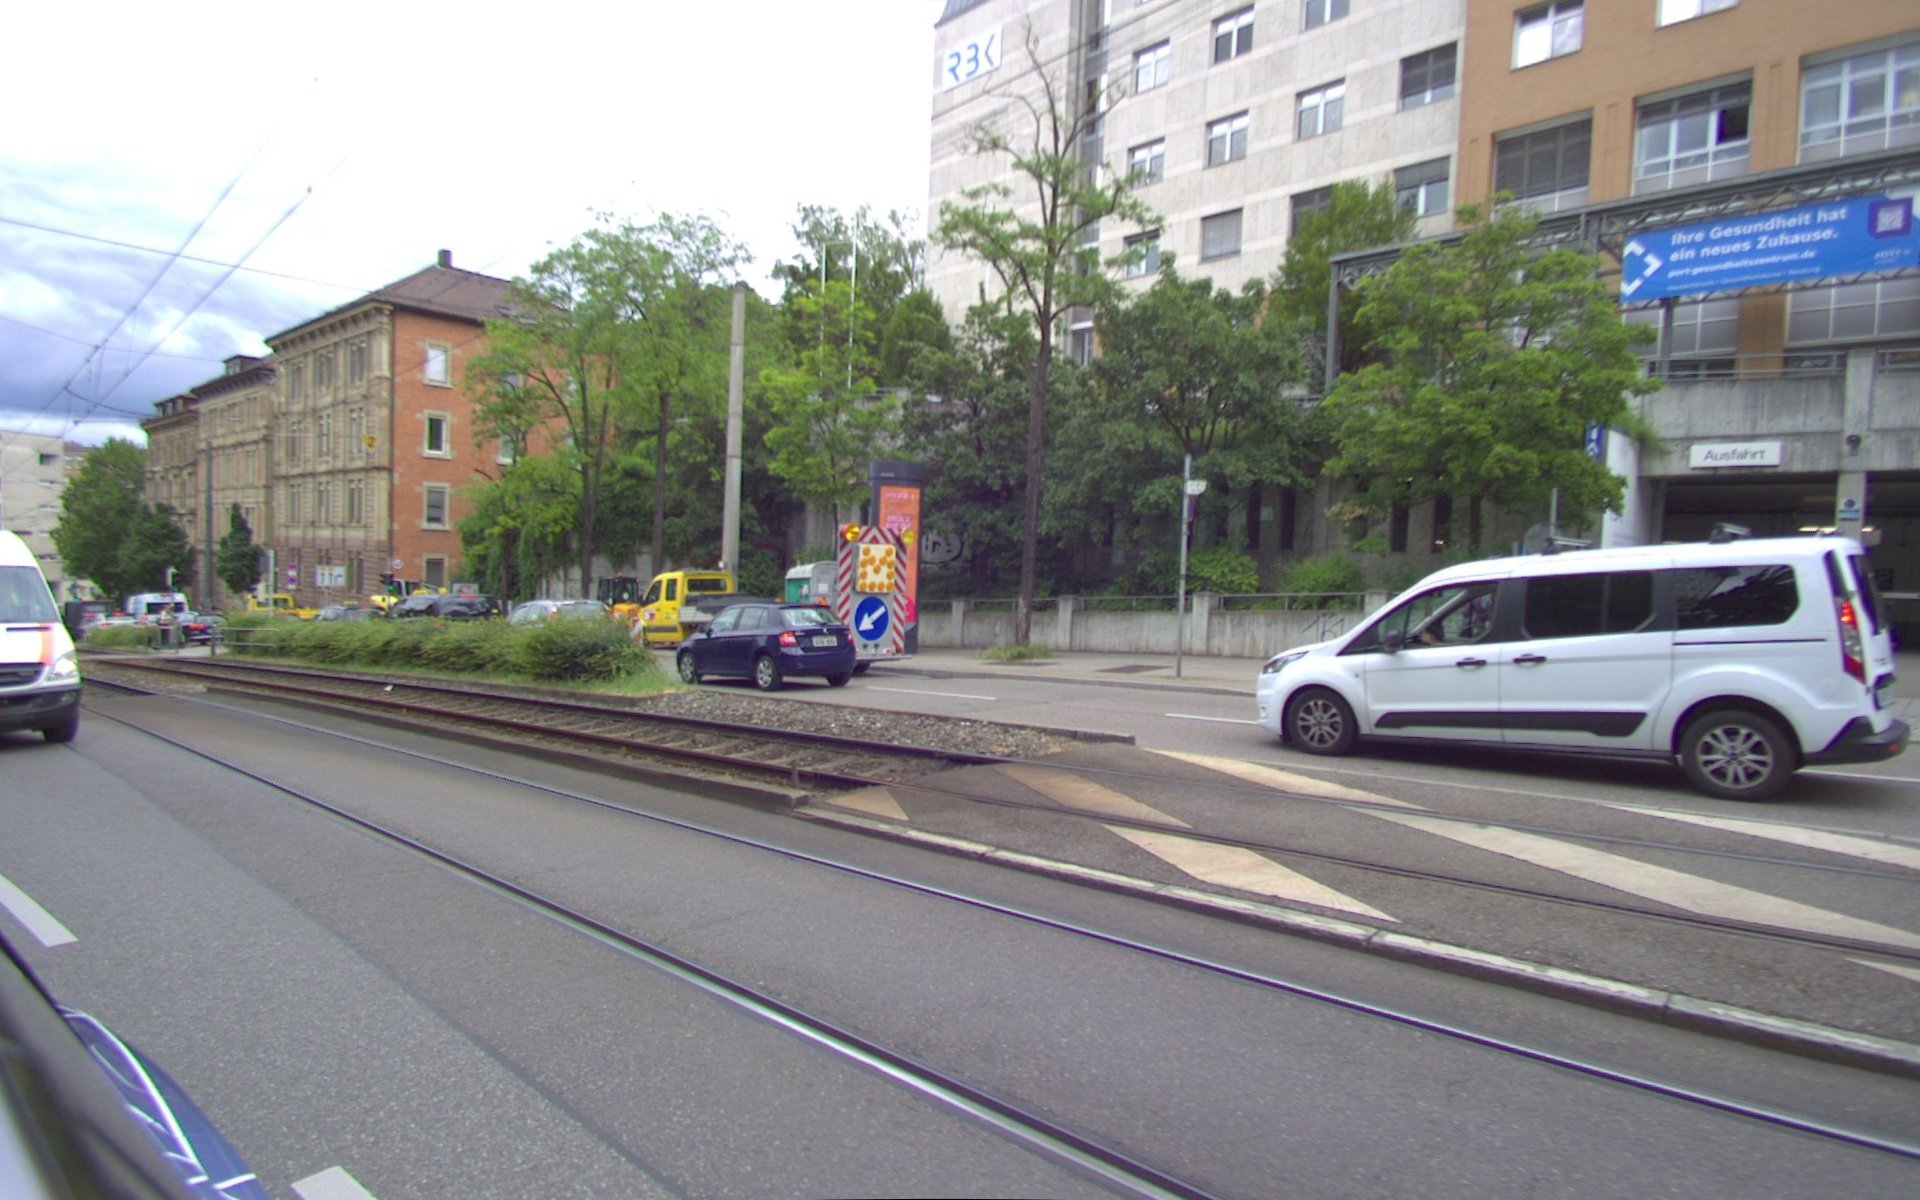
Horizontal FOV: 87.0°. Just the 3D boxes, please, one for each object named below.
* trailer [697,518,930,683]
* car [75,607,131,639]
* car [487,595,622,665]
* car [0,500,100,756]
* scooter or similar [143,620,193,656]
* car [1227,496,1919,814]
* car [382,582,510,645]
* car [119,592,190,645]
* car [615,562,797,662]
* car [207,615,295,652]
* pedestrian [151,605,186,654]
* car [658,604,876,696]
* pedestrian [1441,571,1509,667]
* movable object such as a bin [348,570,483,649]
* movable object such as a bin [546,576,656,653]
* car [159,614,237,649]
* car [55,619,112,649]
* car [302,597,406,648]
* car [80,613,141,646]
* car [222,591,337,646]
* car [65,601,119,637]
[{"bbox_3d":[-3.230,0.004,21.126,1.995,2.995,5.597,-2,1,-42],"label":"trailer"},{"bbox_3d":[-53.878,1.456,63.594,3.436,1.954,2.290,-1,-1,42],"label":"car"},{"bbox_3d":[-9.328,0.669,23.159,1.639,1.454,3.743,0,-1,-43],"label":"car"},{"bbox_3d":[-12.681,0.359,12.302,5.841,2.720,2.016,-1,-1,35],"label":"car"},{"bbox_3d":[-29.885,1.433,38.207,0.527,1.306,1.493,-1,-1,10],"label":"scooter or similar"},{"bbox_3d":[5.006,0.388,8.598,1.924,1.961,5.006,0,-1,-44],"label":"car"},{"bbox_3d":[-14.524,0.396,28.471,1.970,1.617,4.613,0,-1,-44],"label":"car"},{"bbox_3d":[-44.474,1.025,55.855,4.780,2.844,2.187,-1,-1,40],"label":"car"},{"bbox_3d":[-7.506,0.372,29.374,6.338,2.613,2.132,-2,-1,45],"label":"car"},{"bbox_3d":[-28.963,1.352,41.264,4.843,1.446,1.861,-1,-3,42],"label":"car"},{"bbox_3d":[-30.113,1.138,38.507,0.787,1.831,0.737,-1,-2,18],"label":"pedestrian"},{"bbox_3d":[-3.484,0.820,17.834,4.083,1.418,1.746,-1,-1,44],"label":"car"},{"bbox_3d":[8.575,0.313,16.861,0.717,1.572,0.659,0,-1,-14],"label":"pedestrian"},{"bbox_3d":[-26.289,0.520,48.806,6.523,3.575,2.727,-1,-1,30],"label":"movable object such as a bin"},{"bbox_3d":[-12.548,0.503,35.255,4.099,2.486,1.911,-2,0,44],"label":"movable object such as a bin"},{"bbox_3d":[-33.486,1.357,44.452,3.994,1.473,1.762,-1,-1,38],"label":"car"},{"bbox_3d":[-47.144,1.816,54.395,3.949,1.531,1.847,-1,-1,42],"label":"car"},{"bbox_3d":[-20.675,0.765,34.473,4.622,1.617,1.971,-2,-1,45],"label":"car"},{"bbox_3d":[-42.855,1.463,51.040,3.996,1.579,1.686,-1,-1,39],"label":"car"},{"bbox_3d":[-32.188,0.861,47.770,6.742,2.454,2.418,-1,0,37],"label":"car"},{"bbox_3d":[-56.651,1.251,66.006,4.000,2.305,2.212,-1,-1,43],"label":"car"}]
